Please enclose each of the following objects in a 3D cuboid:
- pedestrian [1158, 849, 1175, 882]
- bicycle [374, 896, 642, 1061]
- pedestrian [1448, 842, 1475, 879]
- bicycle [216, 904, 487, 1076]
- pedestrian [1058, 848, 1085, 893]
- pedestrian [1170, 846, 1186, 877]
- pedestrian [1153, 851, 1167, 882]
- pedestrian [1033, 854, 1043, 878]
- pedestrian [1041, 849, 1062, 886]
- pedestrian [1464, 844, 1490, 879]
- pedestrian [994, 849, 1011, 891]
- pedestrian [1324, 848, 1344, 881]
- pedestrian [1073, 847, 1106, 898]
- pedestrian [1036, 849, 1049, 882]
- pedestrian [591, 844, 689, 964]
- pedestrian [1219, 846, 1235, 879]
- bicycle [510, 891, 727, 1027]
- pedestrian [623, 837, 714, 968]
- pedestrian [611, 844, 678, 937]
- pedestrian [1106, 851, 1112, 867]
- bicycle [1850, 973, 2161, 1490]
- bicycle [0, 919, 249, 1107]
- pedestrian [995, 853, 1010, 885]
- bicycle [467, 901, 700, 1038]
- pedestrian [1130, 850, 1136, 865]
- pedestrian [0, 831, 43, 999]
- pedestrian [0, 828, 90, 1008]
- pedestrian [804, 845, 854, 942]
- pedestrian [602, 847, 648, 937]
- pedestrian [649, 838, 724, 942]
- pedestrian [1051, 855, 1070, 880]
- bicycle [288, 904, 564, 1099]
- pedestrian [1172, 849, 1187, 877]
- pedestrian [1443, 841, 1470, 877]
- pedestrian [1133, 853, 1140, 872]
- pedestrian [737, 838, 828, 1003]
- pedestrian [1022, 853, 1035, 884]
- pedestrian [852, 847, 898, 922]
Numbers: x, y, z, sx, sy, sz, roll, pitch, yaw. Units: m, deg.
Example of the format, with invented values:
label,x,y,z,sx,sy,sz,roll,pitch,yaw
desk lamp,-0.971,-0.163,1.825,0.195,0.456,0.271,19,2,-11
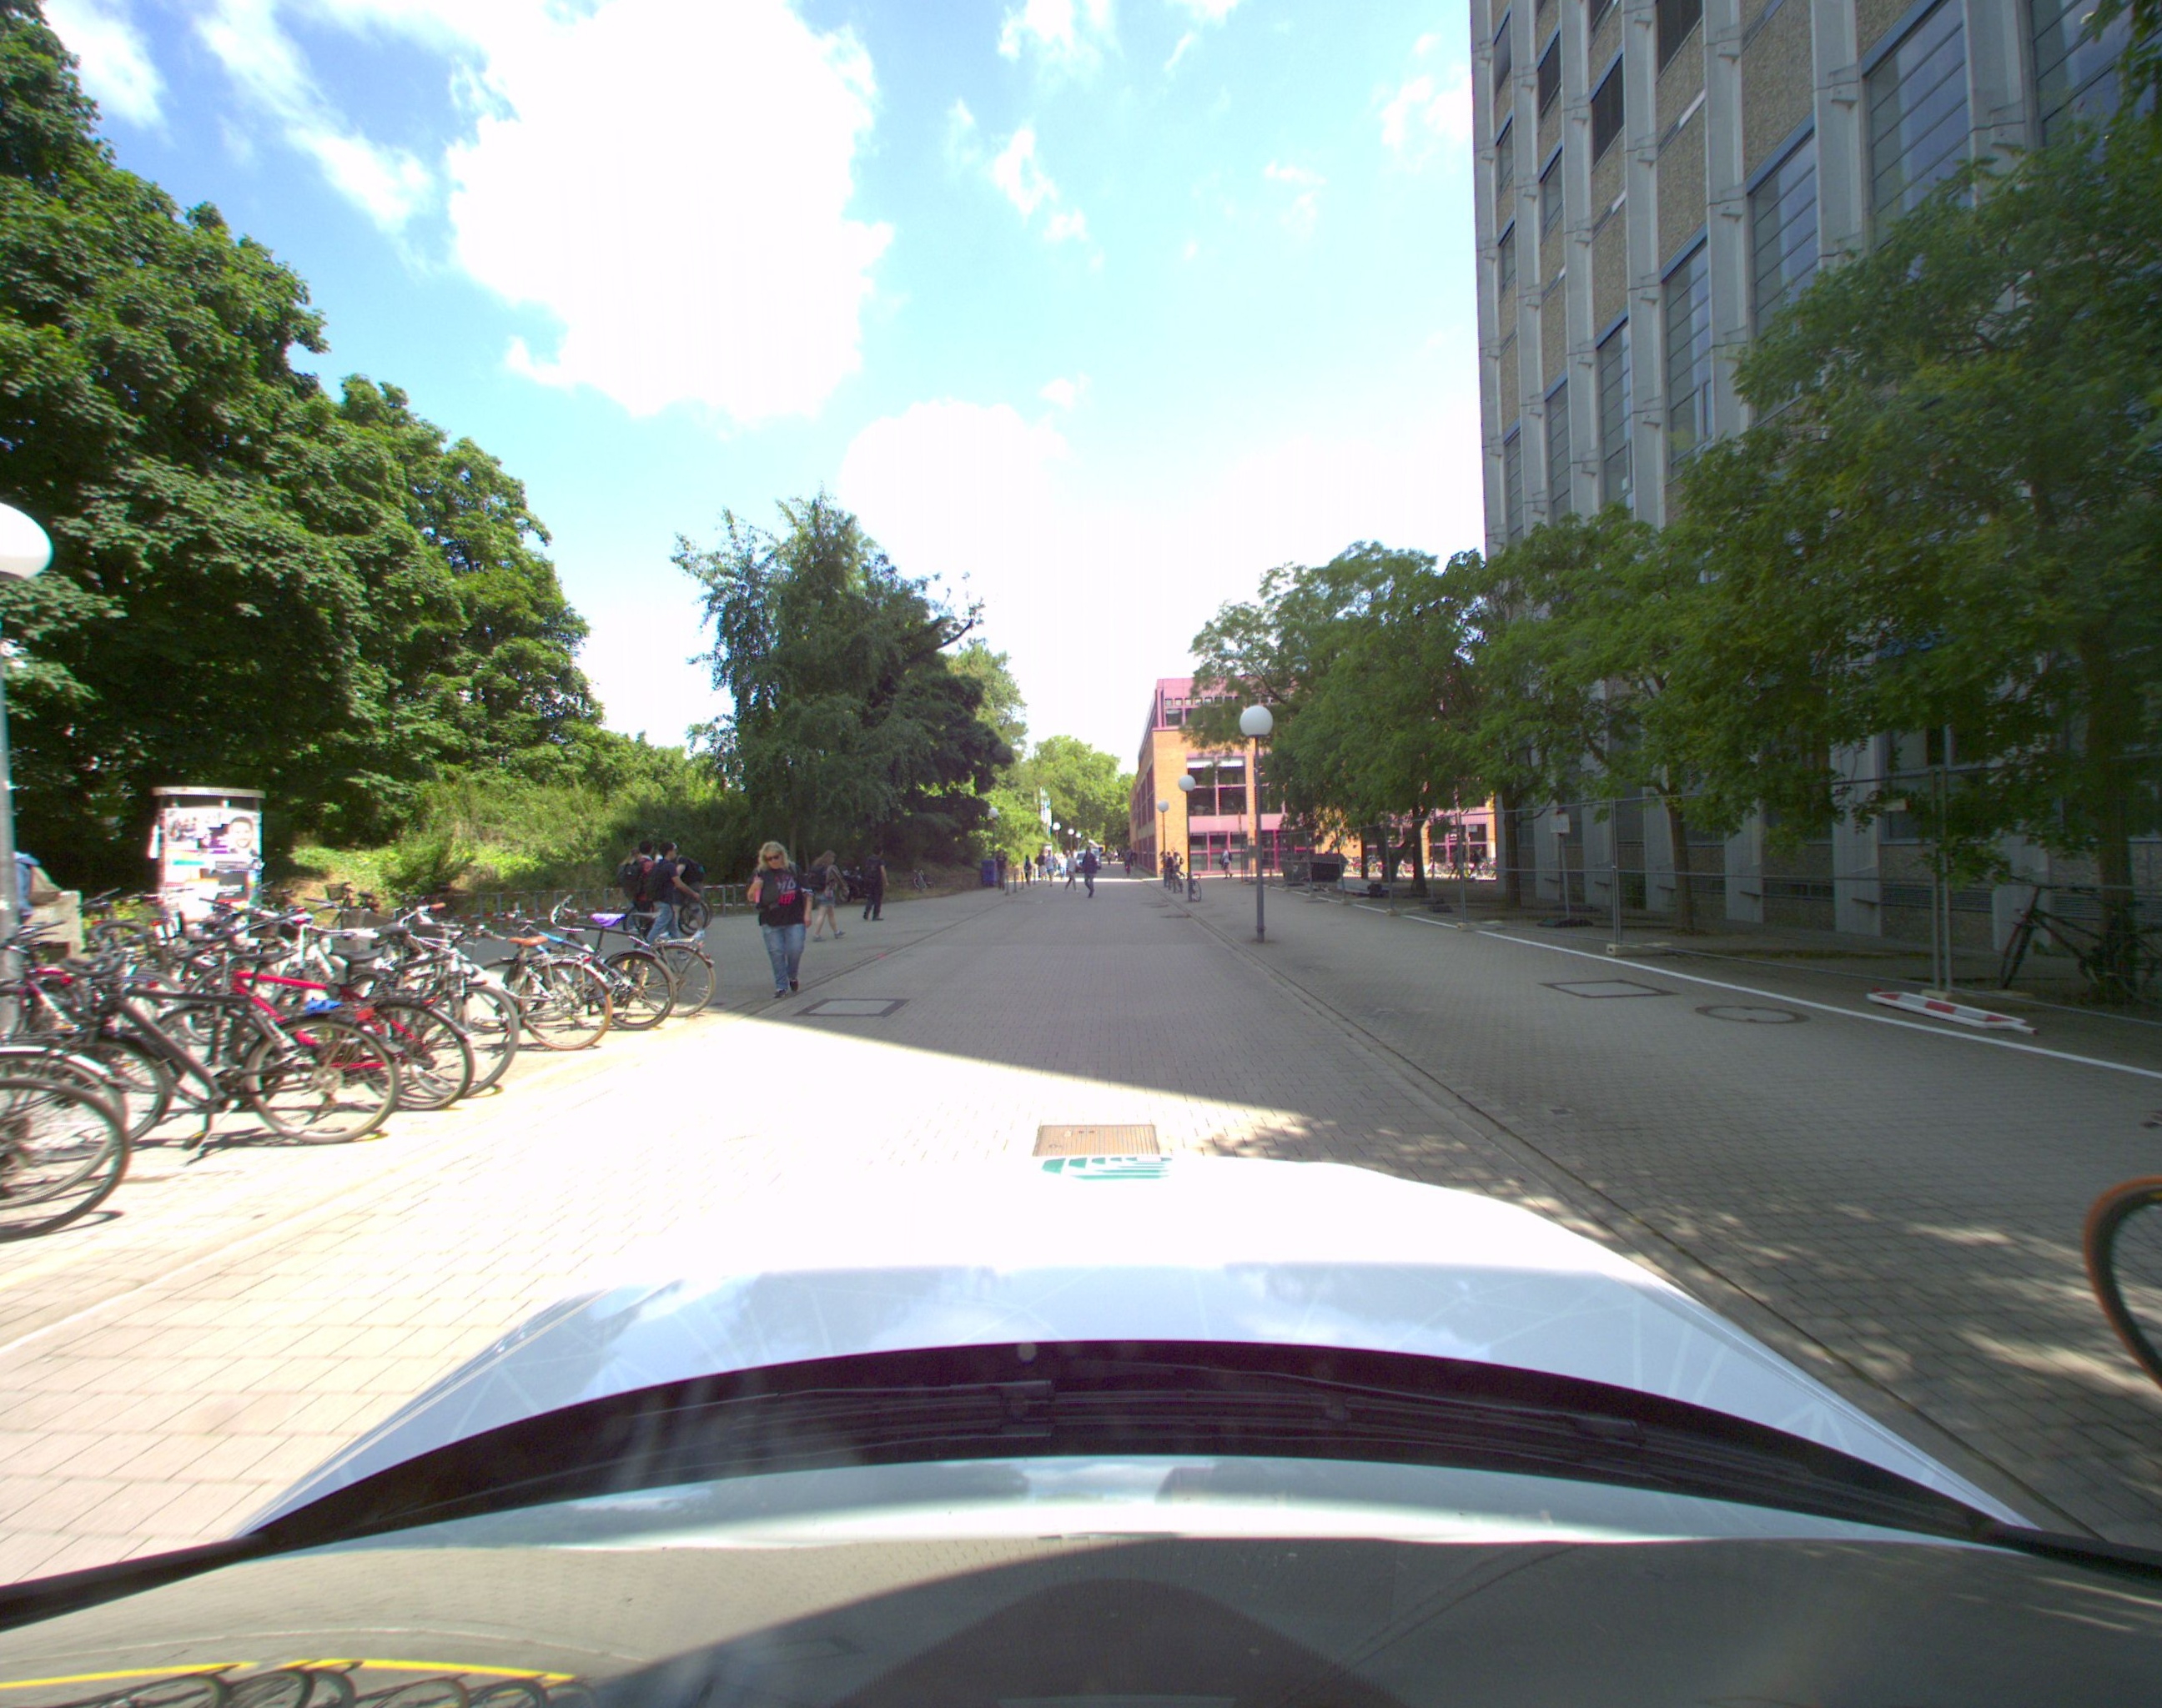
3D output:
label,x,y,z,sx,sy,sz,roll,pitch,yaw
pedestrian,4.442,0.595,42.228,0.847,1.651,0.589,-1,-1,9
bicycle,-4.407,0.937,6.335,1.691,1.168,0.473,-1,-1,-5
pedestrian,18.173,0.326,38.936,0.900,1.728,0.684,-1,-3,-3
bicycle,-5.632,0.984,6.441,0.504,1.083,1.702,-1,0,5
pedestrian,-0.405,0.691,33.988,0.786,1.845,1.109,0,0,-23
pedestrian,5.782,0.434,48.546,0.823,1.844,0.684,0,-1,-1
pedestrian,4.451,0.703,45.804,0.692,1.672,0.589,-2,-1,9
pedestrian,-2.931,0.809,55.481,0.681,1.620,0.977,0,-1,-3
pedestrian,-1.514,0.701,41.560,0.718,1.881,1.087,-1,-1,18
pedestrian,20.028,0.369,41.181,0.900,1.728,0.684,-1,-3,-3
pedestrian,-3.553,0.710,36.822,0.681,1.873,1.120,0,-1,-3
pedestrian,13.357,0.564,42.999,0.895,1.728,0.687,-2,-3,13
pedestrian,0.335,0.676,30.433,0.877,1.857,1.038,0,0,26
pedestrian,-2.201,0.664,47.114,0.680,1.844,0.783,0,-1,2
pedestrian,-6.727,0.723,12.454,0.710,1.724,1.071,-1,0,34
pedestrian,7.945,0.461,44.297,0.762,1.794,0.589,-2,-1,9
bicycle,-4.251,0.949,7.563,1.692,1.159,0.473,-1,-1,-8
pedestrian,-6.054,0.677,11.976,0.677,1.835,0.947,-1,0,36
pedestrian,-8.475,0.679,15.831,0.669,1.724,0.943,-1,0,42
pedestrian,3.033,0.555,89.300,0.584,1.672,0.818,-2,-1,3
bicycle,2.664,0.895,1.607,0.535,1.039,1.859,-2,0,1
bicycle,-6.362,0.992,5.338,1.682,1.083,0.476,-1,-1,14
pedestrian,-4.338,0.835,44.931,0.683,1.728,0.997,-1,-1,-15
bicycle,-4.289,0.983,7.094,1.691,1.091,0.473,-1,-1,-5
pedestrian,5.785,0.359,90.045,0.584,1.672,0.818,-2,-1,3
pedestrian,-12.065,0.657,8.786,0.760,1.804,0.990,-1,0,44
pedestrian,-11.190,0.649,8.548,0.887,1.815,0.824,0,0,-43
pedestrian,-4.577,0.696,14.844,0.682,1.724,0.731,0,0,0
pedestrian,-9.119,0.734,16.288,0.689,1.724,0.723,-2,0,-35
pedestrian,-7.222,0.632,14.937,0.606,1.835,1.056,-1,-1,32
pedestrian,-1.261,0.830,49.469,0.746,1.542,0.879,2,-2,-37
bicycle,-4.410,0.938,5.482,1.762,1.168,0.476,-1,-1,14
pedestrian,5.789,0.526,47.792,0.778,1.620,0.684,0,-1,-1
pedestrian,18.274,0.255,39.614,0.900,1.728,0.684,-1,-3,-3
pedestrian,5.127,0.788,75.857,0.584,1.672,0.699,-2,-1,3
pedestrian,-3.263,0.681,8.872,0.772,1.680,0.898,1,-1,-31
pedestrian,-2.812,0.783,43.611,0.569,1.611,0.915,0,-1,-10
pedestrian,-4.842,0.691,19.188,0.678,1.724,0.908,0,0,18
